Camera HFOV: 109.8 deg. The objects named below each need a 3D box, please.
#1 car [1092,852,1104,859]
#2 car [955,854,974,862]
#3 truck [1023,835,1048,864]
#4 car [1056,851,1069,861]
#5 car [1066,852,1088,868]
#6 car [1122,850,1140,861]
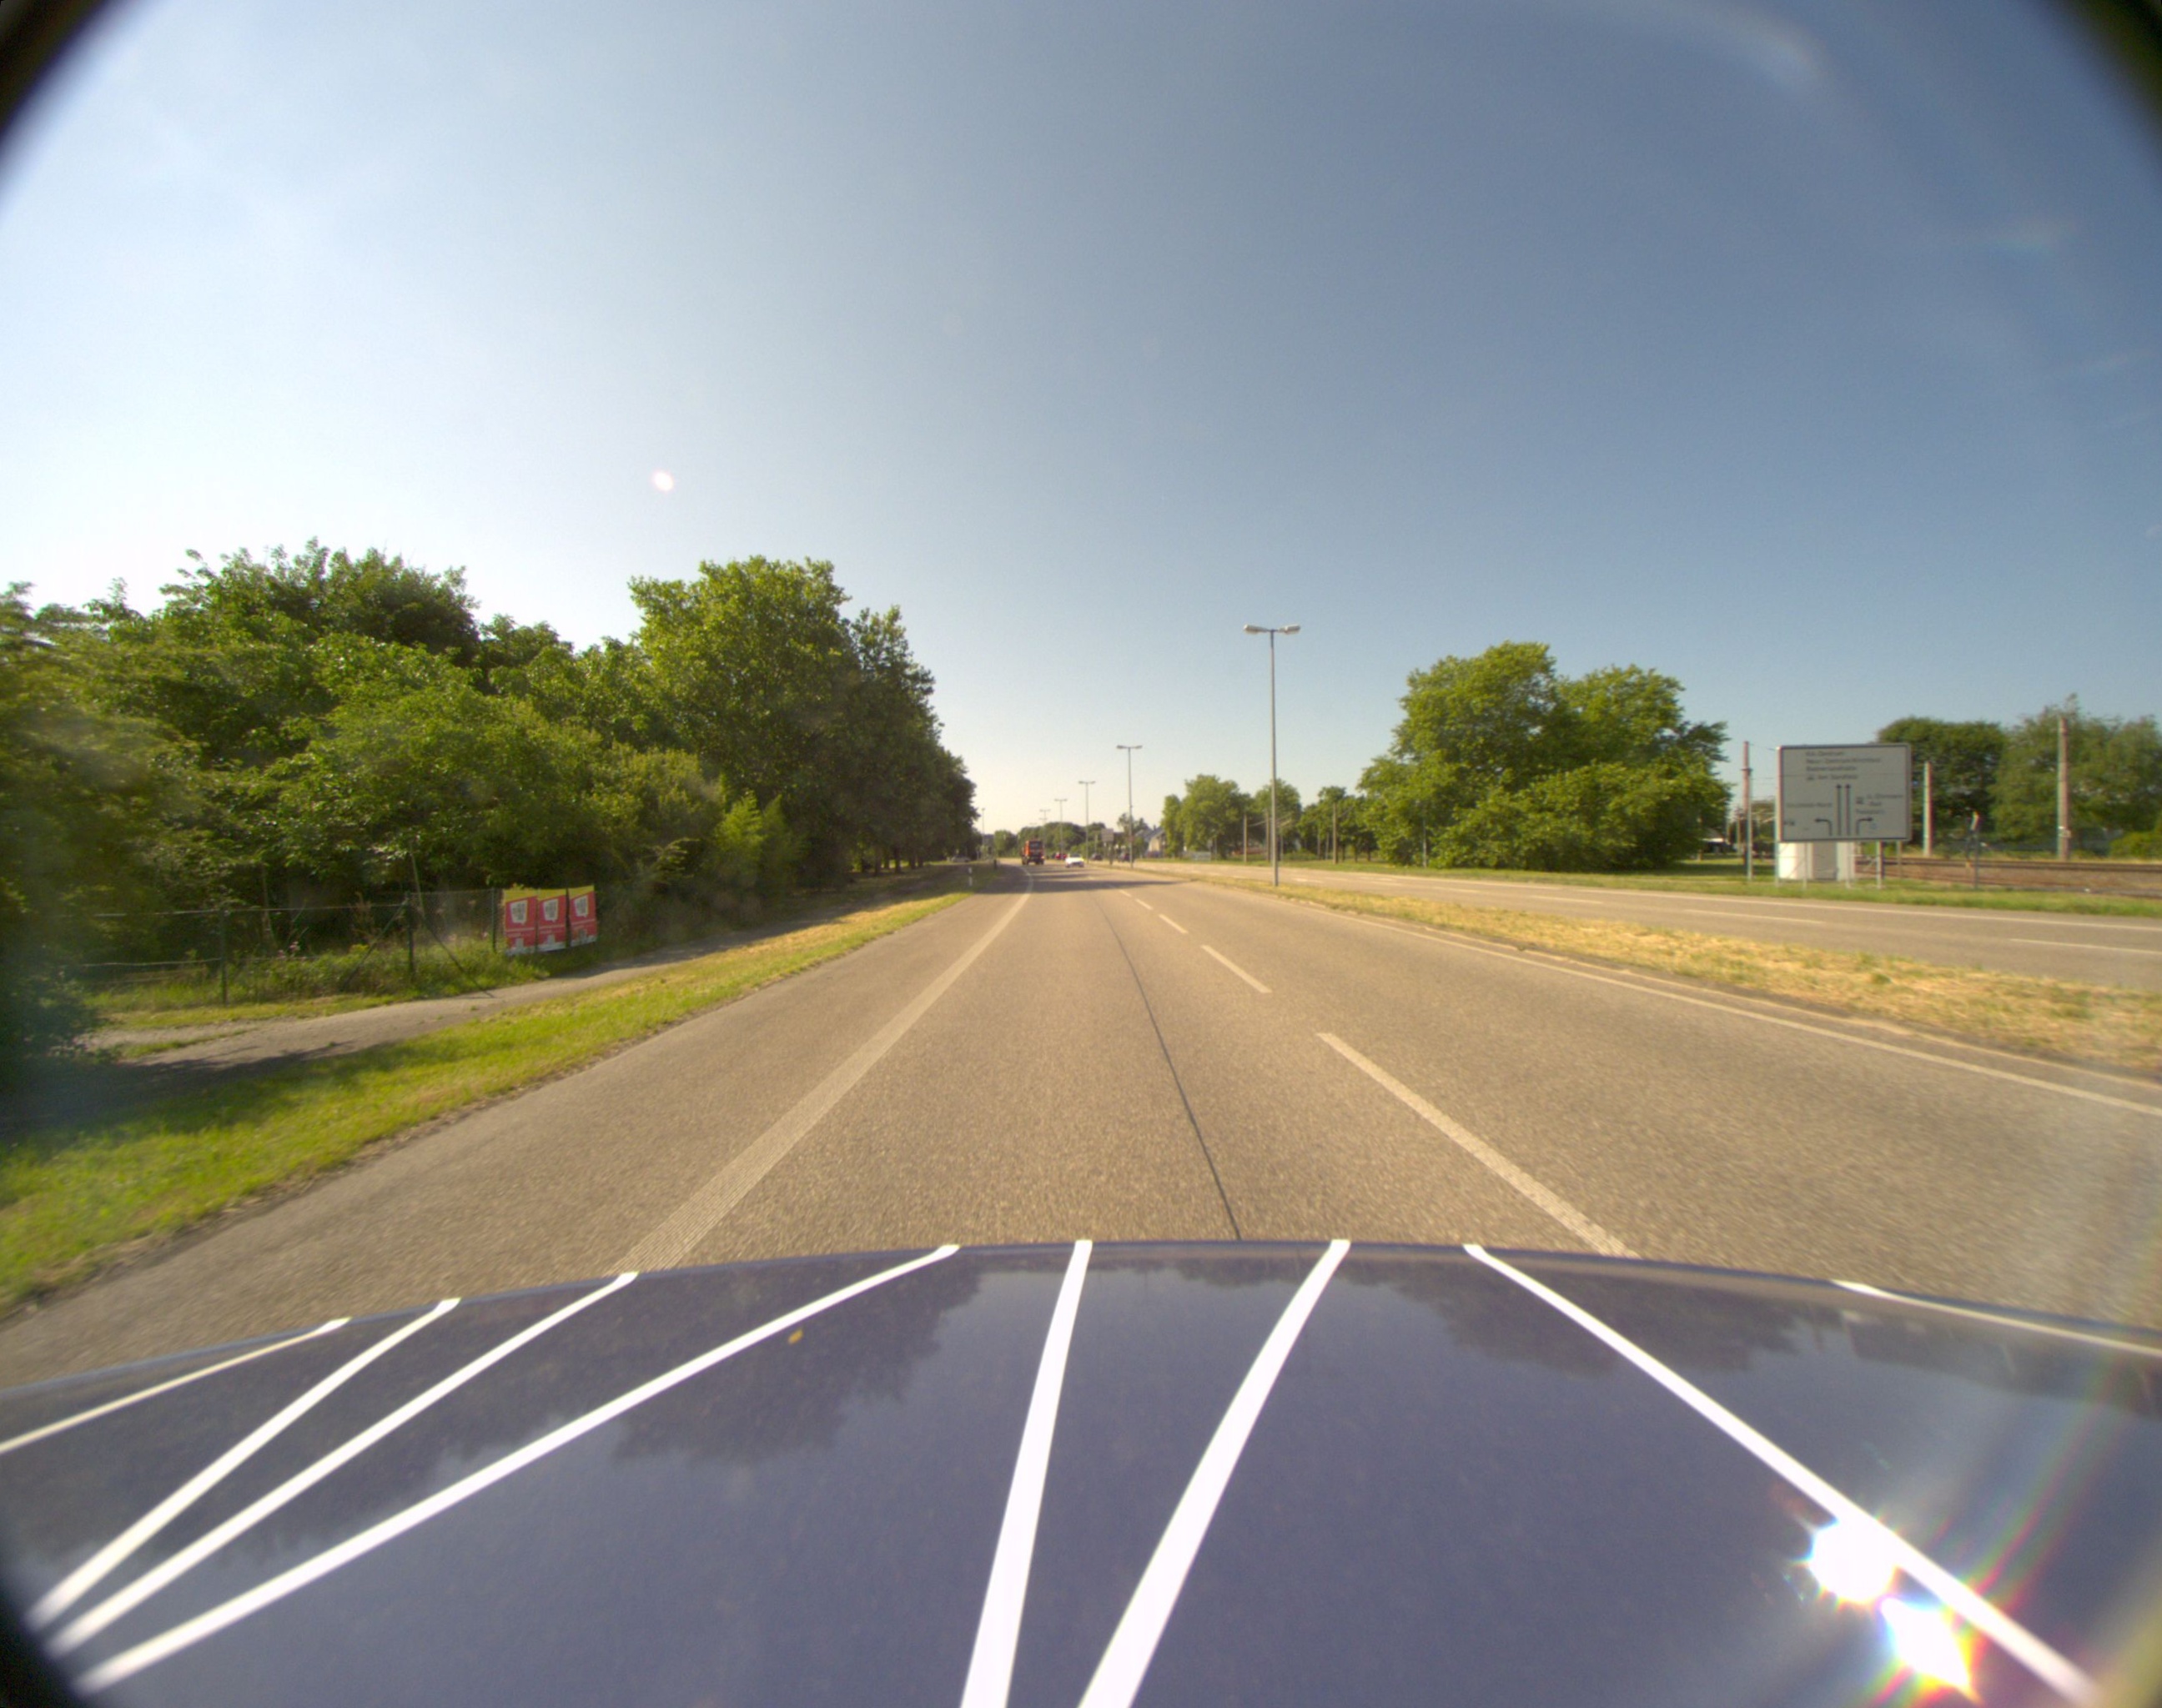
[{"bbox_3d":[3.317,0.265,150.776,1.836,1.457,4.467,-1,0,-6],"label":"car"},{"bbox_3d":[-25.458,0.875,166.653,4.064,1.555,1.741,-3,1,-8],"label":"car"},{"bbox_3d":[-6.417,-0.640,106.799,2.942,3.852,6.586,-1,0,-8],"label":"truck"},{"bbox_3d":[-3.670,0.401,148.739,1.987,1.740,4.504,-5,1,-8],"label":"car"},{"bbox_3d":[-0.492,0.592,81.101,1.870,1.499,4.334,-3,1,-6],"label":"car"},{"bbox_3d":[7.928,0.272,120.974,1.988,1.650,4.552,-1,0,-7],"label":"car"}]
